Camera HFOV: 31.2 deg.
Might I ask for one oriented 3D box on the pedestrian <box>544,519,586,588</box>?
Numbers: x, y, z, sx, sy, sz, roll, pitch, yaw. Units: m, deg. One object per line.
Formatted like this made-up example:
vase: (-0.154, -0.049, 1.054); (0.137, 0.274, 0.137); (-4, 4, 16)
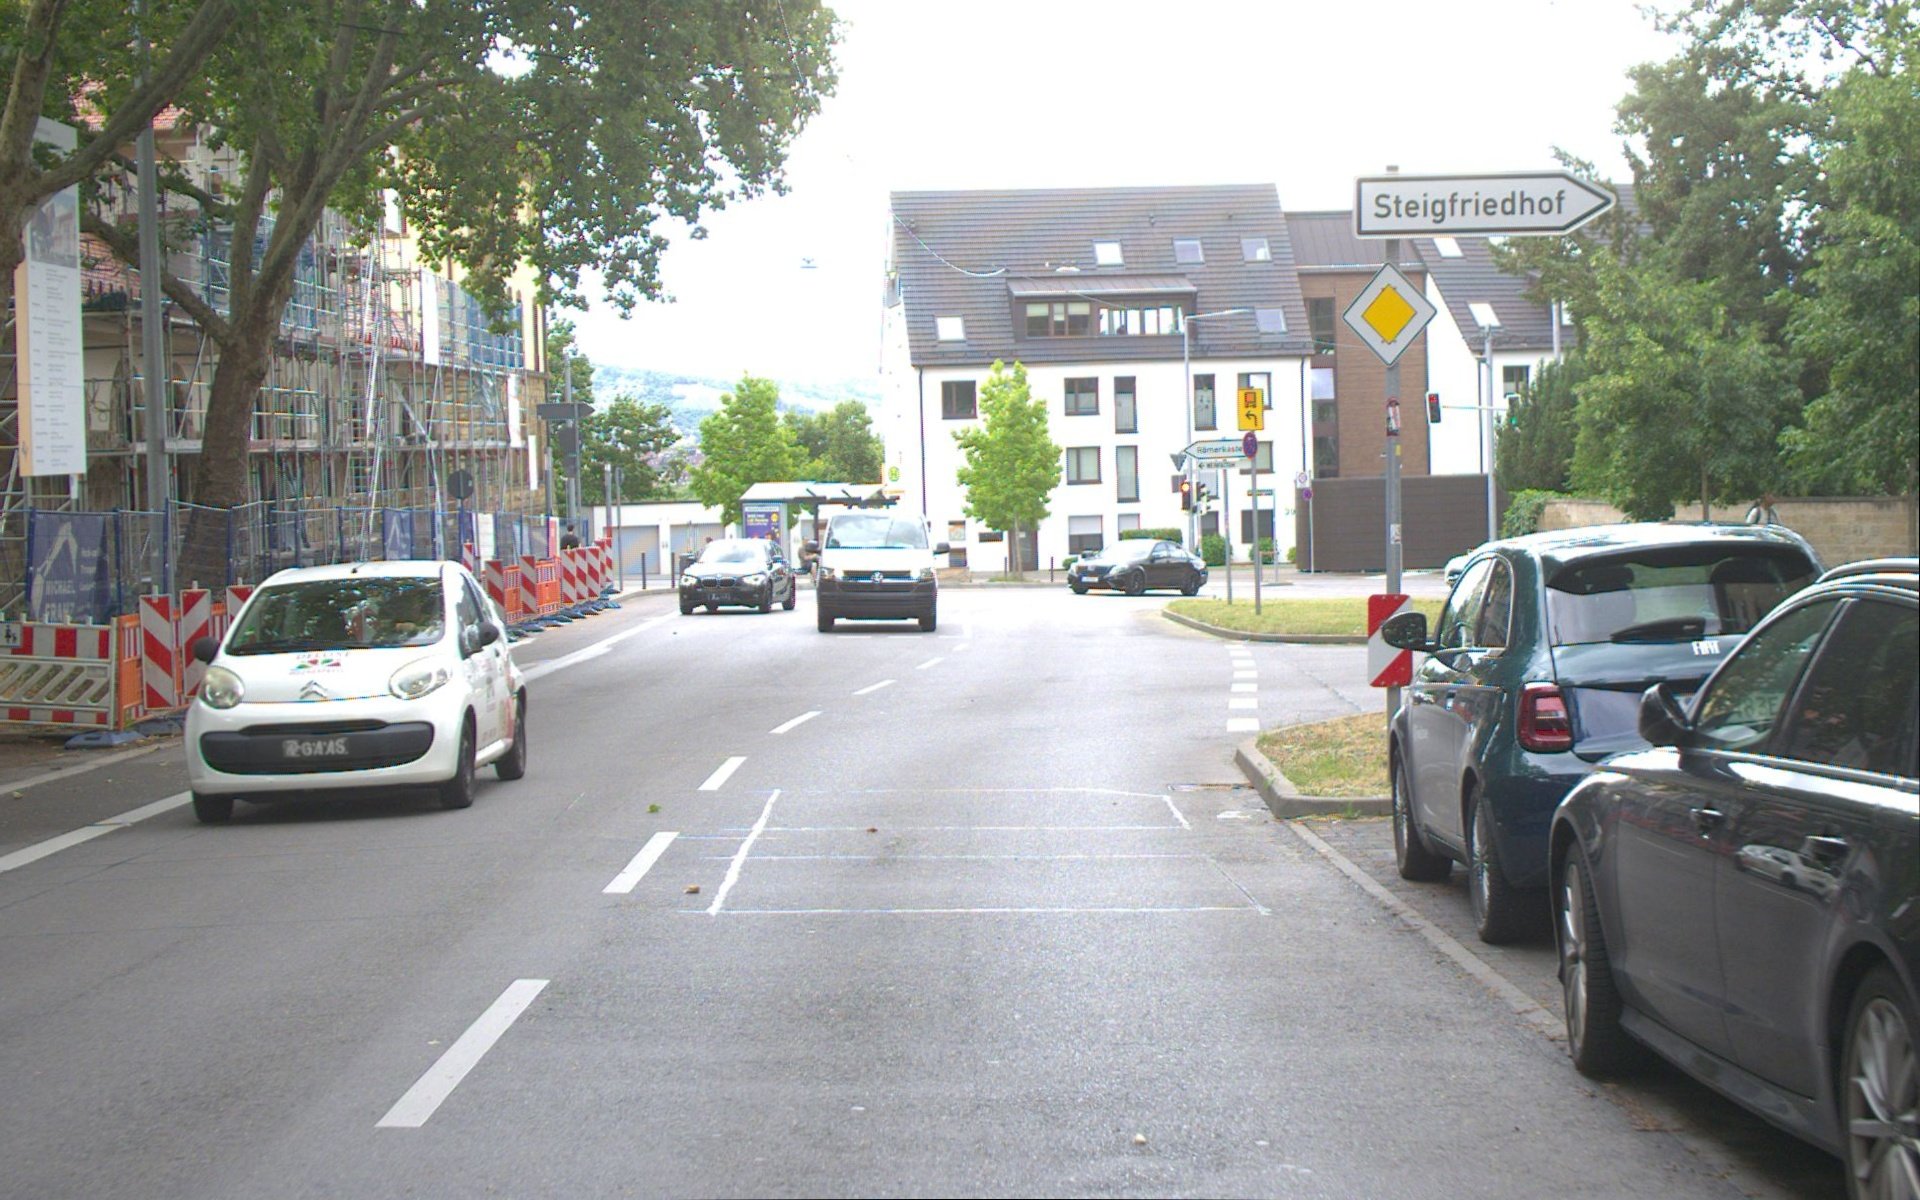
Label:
pedestrian: (-9.851, -1.158, 85.776); (0.923, 1.714, 0.798); (1, 0, 3)

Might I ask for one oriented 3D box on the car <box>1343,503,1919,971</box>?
car: (2.579, 0.451, 13.983); (1.565, 1.604, 3.654); (-2, 1, 0)

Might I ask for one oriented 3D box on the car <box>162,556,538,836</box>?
car: (-3.631, 0.514, 21.040); (1.583, 1.459, 3.652); (-4, 1, 0)

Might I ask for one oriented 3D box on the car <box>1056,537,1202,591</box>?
car: (4.570, -0.977, 92.419); (1.703, 1.421, 4.239); (0, 1, 40)

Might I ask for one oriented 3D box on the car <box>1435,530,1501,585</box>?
car: (15.971, -1.348, 108.032); (1.792, 1.605, 4.506); (-1, 1, 11)

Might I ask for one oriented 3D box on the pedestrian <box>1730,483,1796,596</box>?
pedestrian: (12.464, -0.933, 53.357); (0.710, 1.728, 0.661); (1, 0, -33)

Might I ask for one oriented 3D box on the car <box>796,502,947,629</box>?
car: (-1.370, -0.576, 55.309); (2.205, 1.924, 5.240); (-1, 1, 1)

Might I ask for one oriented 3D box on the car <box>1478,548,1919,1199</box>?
car: (2.577, 0.636, 8.085); (1.738, 1.458, 4.776); (-3, 1, -2)

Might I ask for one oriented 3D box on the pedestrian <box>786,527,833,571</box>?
pedestrian: (-4.066, -1.374, 92.882); (0.934, 1.188, 0.904); (1, 0, 28)

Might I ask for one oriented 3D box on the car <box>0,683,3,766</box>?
car: (-8.447, 0.429, 24.714); (1.834, 1.870, 4.416); (-2, 1, 0)

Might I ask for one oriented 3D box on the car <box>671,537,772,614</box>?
car: (-4.640, -0.507, 67.228); (1.699, 1.421, 4.250); (-1, 1, -1)
